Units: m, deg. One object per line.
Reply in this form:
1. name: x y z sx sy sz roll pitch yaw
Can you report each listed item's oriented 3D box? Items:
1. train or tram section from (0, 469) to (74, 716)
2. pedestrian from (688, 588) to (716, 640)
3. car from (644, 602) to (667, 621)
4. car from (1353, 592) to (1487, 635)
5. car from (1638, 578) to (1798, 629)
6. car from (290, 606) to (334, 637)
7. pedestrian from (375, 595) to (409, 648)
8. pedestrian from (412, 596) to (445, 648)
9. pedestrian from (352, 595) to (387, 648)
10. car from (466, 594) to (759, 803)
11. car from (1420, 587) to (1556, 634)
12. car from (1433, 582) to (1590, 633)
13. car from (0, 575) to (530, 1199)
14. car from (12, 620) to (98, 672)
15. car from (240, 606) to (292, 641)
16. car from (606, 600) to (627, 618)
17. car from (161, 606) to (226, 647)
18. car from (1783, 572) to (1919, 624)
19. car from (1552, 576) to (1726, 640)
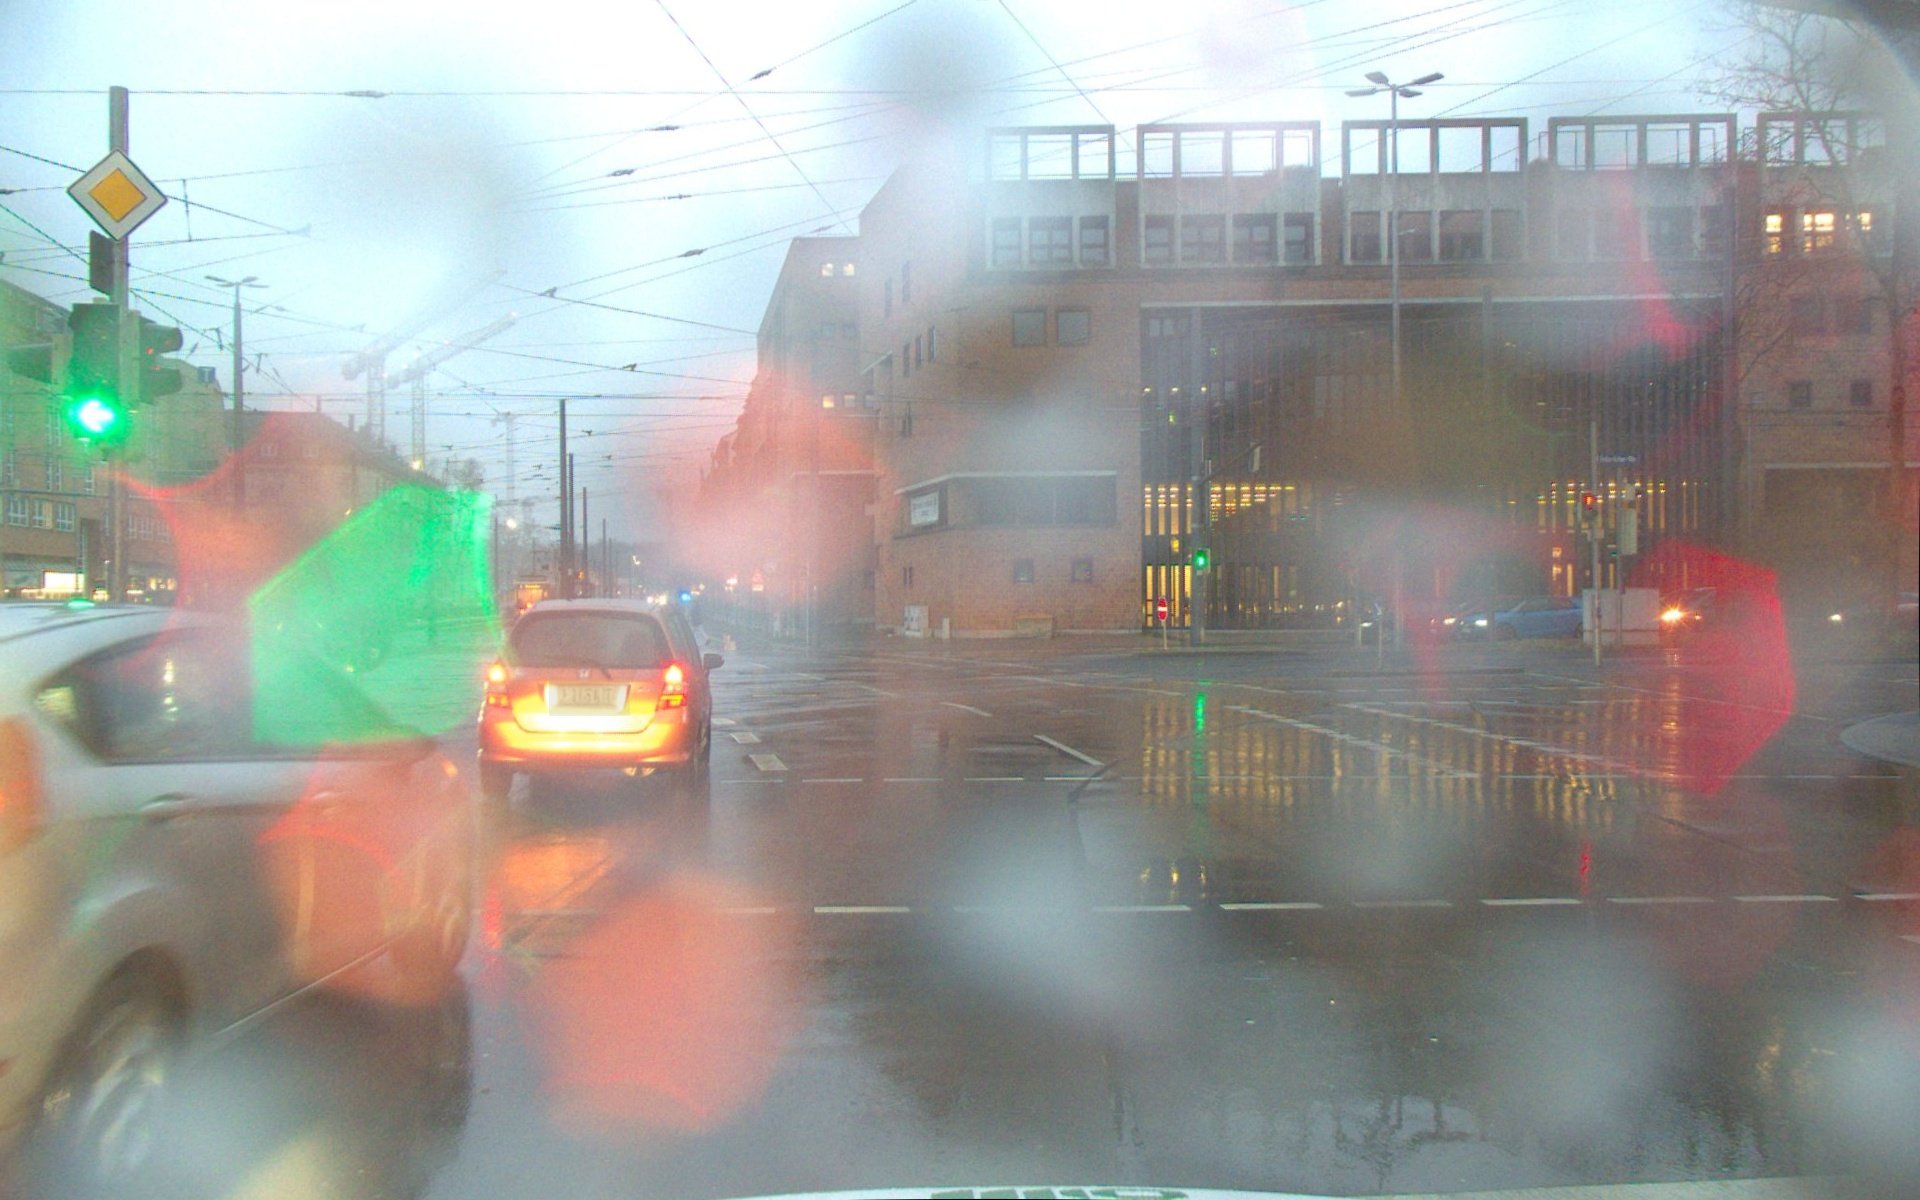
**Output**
1. train or tram section: -15.047 -0.084 17.306 2.809 3.677 19.192 -1 0 -5
2. pedestrian: -10.291 0.554 65.955 1.050 2.049 0.683 0 0 -14
3. car: -28.052 1.059 152.452 1.836 1.606 3.992 2 0 -9
4. car: 15.534 0.445 55.940 3.909 1.333 1.998 -1 0 -5
5. car: 22.344 0.086 48.838 3.910 1.310 1.846 -1 4 -7
6. car: -35.592 1.174 90.945 1.756 1.652 3.852 0 0 -14
7. pedestrian: -22.341 0.846 65.086 0.959 2.049 0.835 0 0 14
8. pedestrian: -21.392 0.879 66.597 0.959 2.049 0.835 0 0 14
9. pedestrian: -22.822 0.825 63.914 0.959 2.049 0.835 0 0 14
10. car: -2.738 0.710 13.839 1.663 1.485 3.757 -1 0 0
11. car: 16.599 0.312 52.129 3.649 1.284 1.846 -1 4 -7
12. car: 15.973 0.204 48.033 3.910 1.284 1.846 -1 4 -7
13. car: -2.745 0.735 5.325 1.670 1.473 3.999 -1 -1 0
14. car: -29.769 1.466 54.345 2.027 1.588 4.775 -1 0 -34
15. car: -34.218 1.137 81.669 1.756 1.652 3.852 0 0 -14
16. car: -33.958 0.879 163.445 1.837 1.606 3.990 2 0 -10
17. car: -32.287 1.091 69.778 1.756 1.652 3.852 0 0 -14
18. car: 29.328 -0.090 54.112 3.910 1.530 1.846 -1 4 -7
19. car: 18.226 0.200 44.488 3.910 1.530 1.846 -1 4 -7
